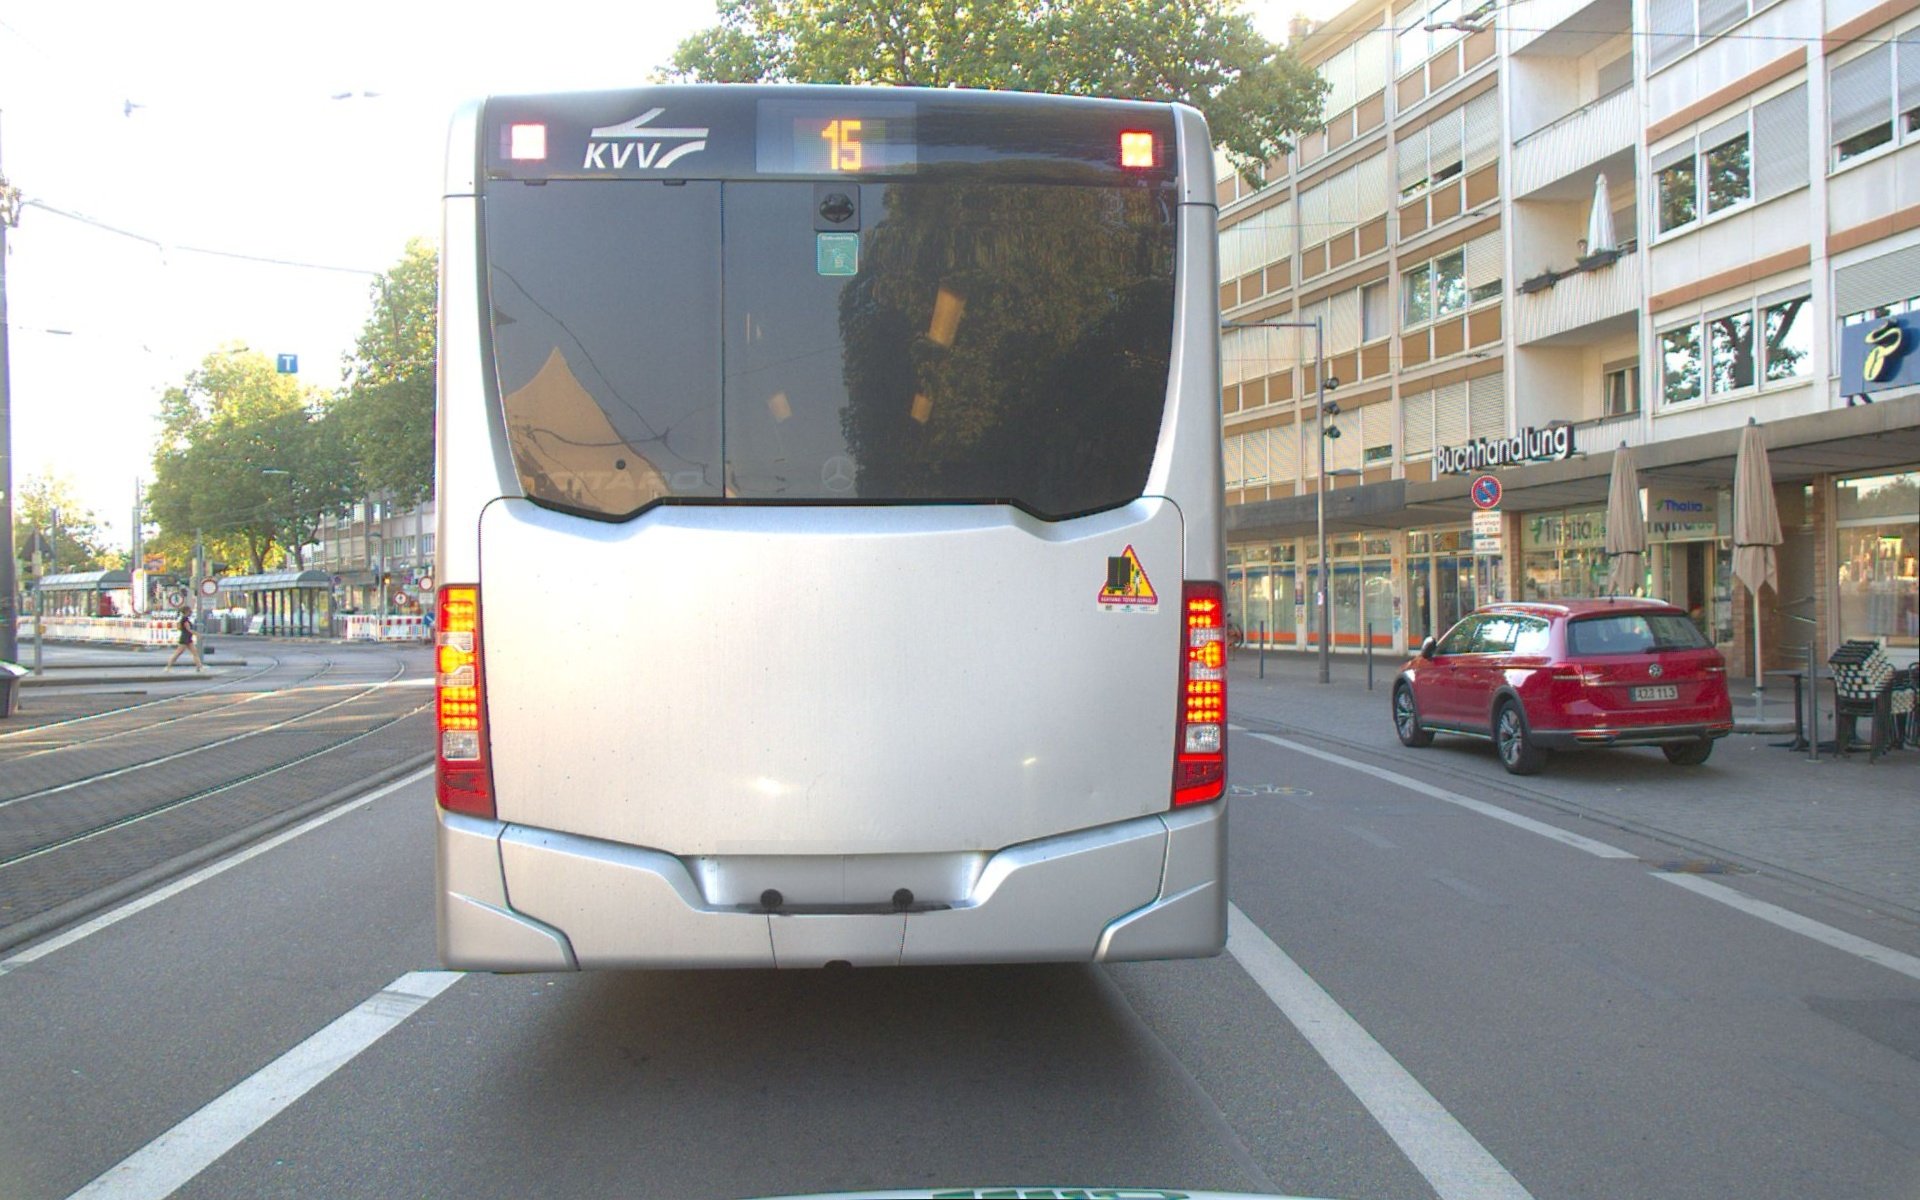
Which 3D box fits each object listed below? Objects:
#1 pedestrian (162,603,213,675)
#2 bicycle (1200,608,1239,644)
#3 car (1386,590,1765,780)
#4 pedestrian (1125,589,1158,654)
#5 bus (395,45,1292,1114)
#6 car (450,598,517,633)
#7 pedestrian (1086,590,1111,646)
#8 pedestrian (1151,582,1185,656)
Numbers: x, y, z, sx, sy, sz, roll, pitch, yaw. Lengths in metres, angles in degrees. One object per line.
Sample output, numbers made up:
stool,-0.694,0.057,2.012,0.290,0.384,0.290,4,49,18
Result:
pedestrian,-18.837,0.953,40.361,0.977,1.716,0.642,0,-2,-13
bicycle,7.165,0.710,45.738,0.406,0.961,1.431,-1,0,-20
car,5.695,0.708,15.938,1.735,1.508,4.299,-2,0,-4
pedestrian,4.587,0.539,41.802,0.634,1.609,0.557,-1,0,-17
bus,-0.407,-0.040,9.800,2.577,3.081,9.995,0,0,-1
car,-25.313,0.820,87.829,1.982,1.823,3.940,2,-1,-41
pedestrian,4.202,0.531,50.232,0.527,1.677,0.612,-1,0,-18
pedestrian,5.024,0.452,39.933,0.634,1.747,0.557,-1,0,-17
